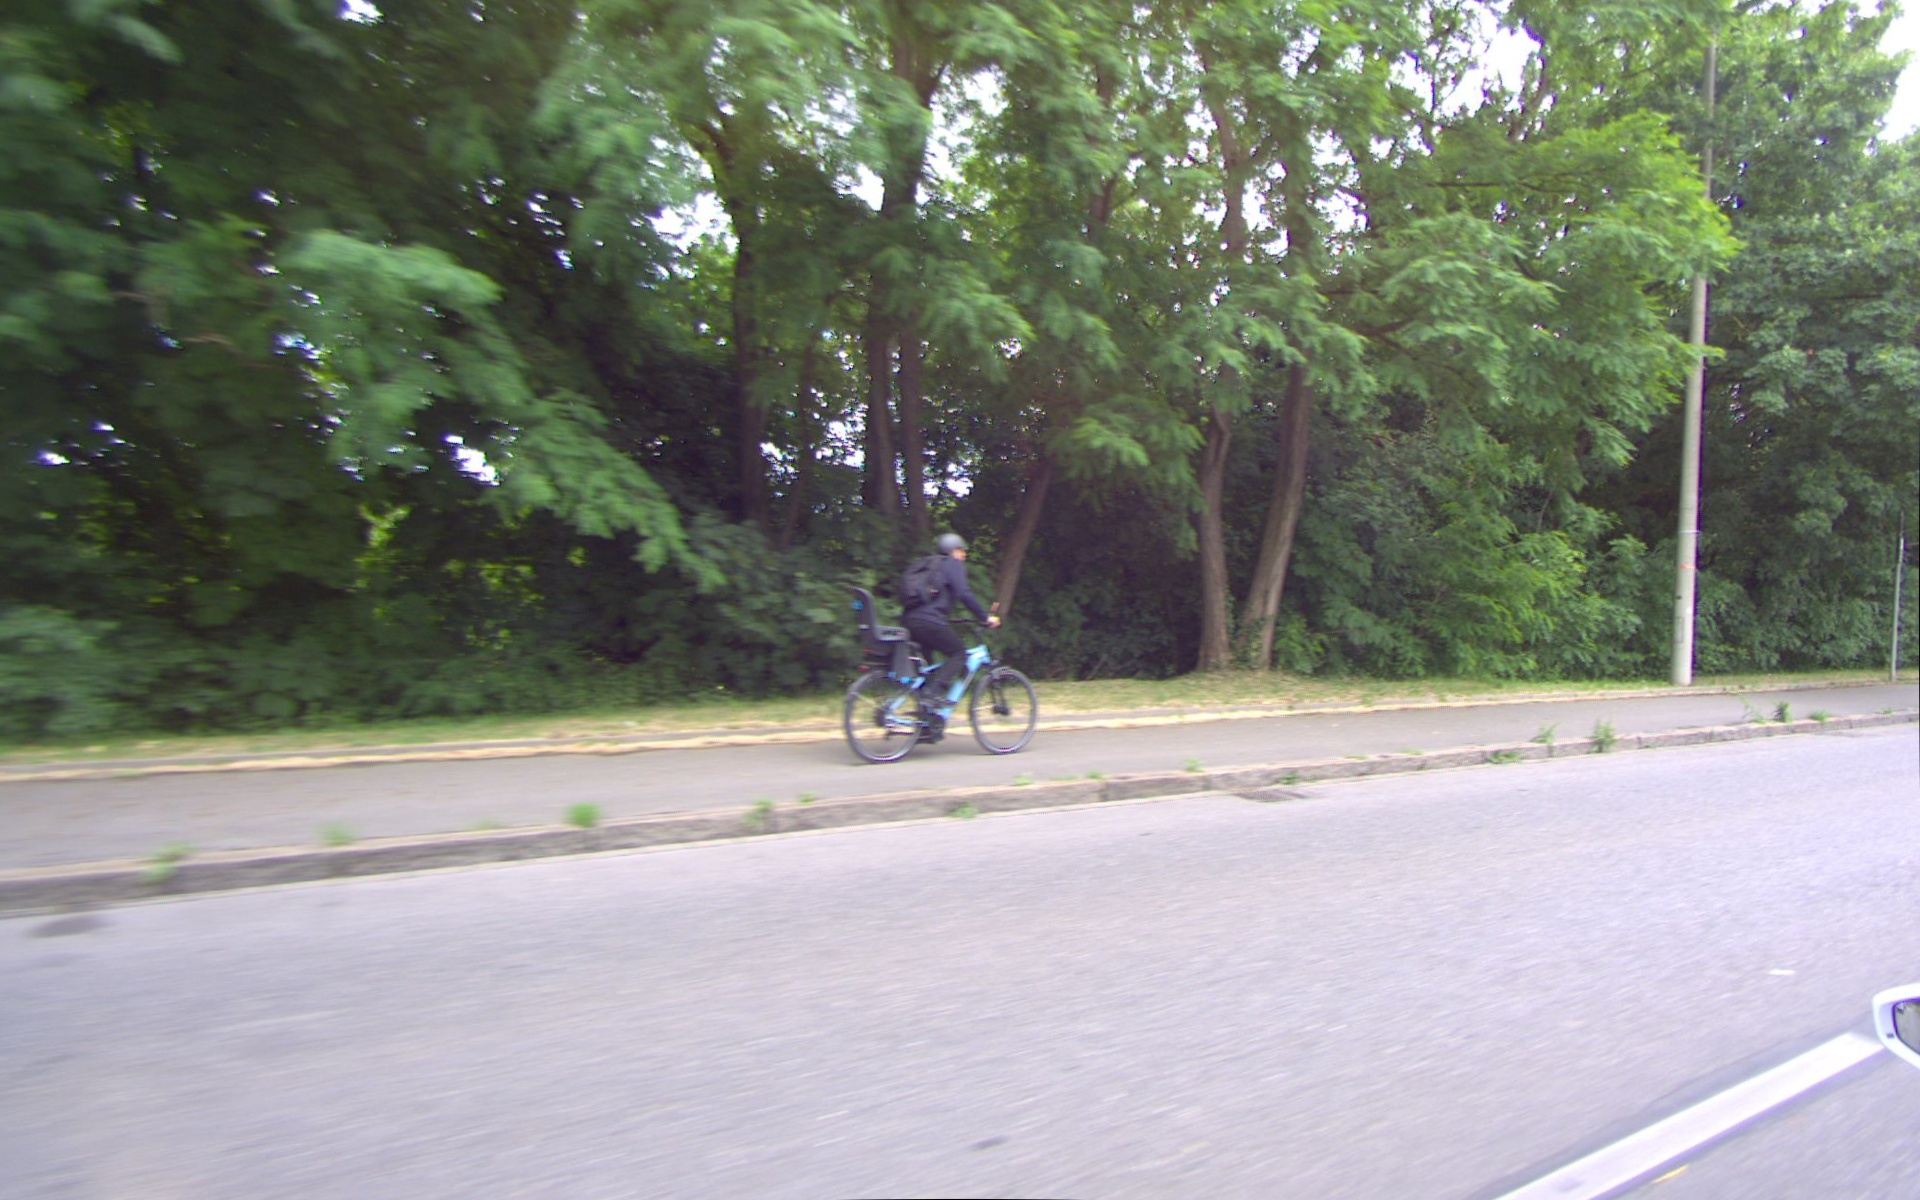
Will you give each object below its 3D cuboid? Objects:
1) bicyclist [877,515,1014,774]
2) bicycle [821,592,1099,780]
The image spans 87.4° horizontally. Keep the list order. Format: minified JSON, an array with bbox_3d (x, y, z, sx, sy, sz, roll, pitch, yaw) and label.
[{"bbox_3d":[-0.124,0.329,8.148,0.827,1.974,0.682,0,2,-34],"label":"bicyclist"},{"bbox_3d":[0.044,0.646,8.278,2.257,1.349,0.694,1,2,-34],"label":"bicycle"}]
